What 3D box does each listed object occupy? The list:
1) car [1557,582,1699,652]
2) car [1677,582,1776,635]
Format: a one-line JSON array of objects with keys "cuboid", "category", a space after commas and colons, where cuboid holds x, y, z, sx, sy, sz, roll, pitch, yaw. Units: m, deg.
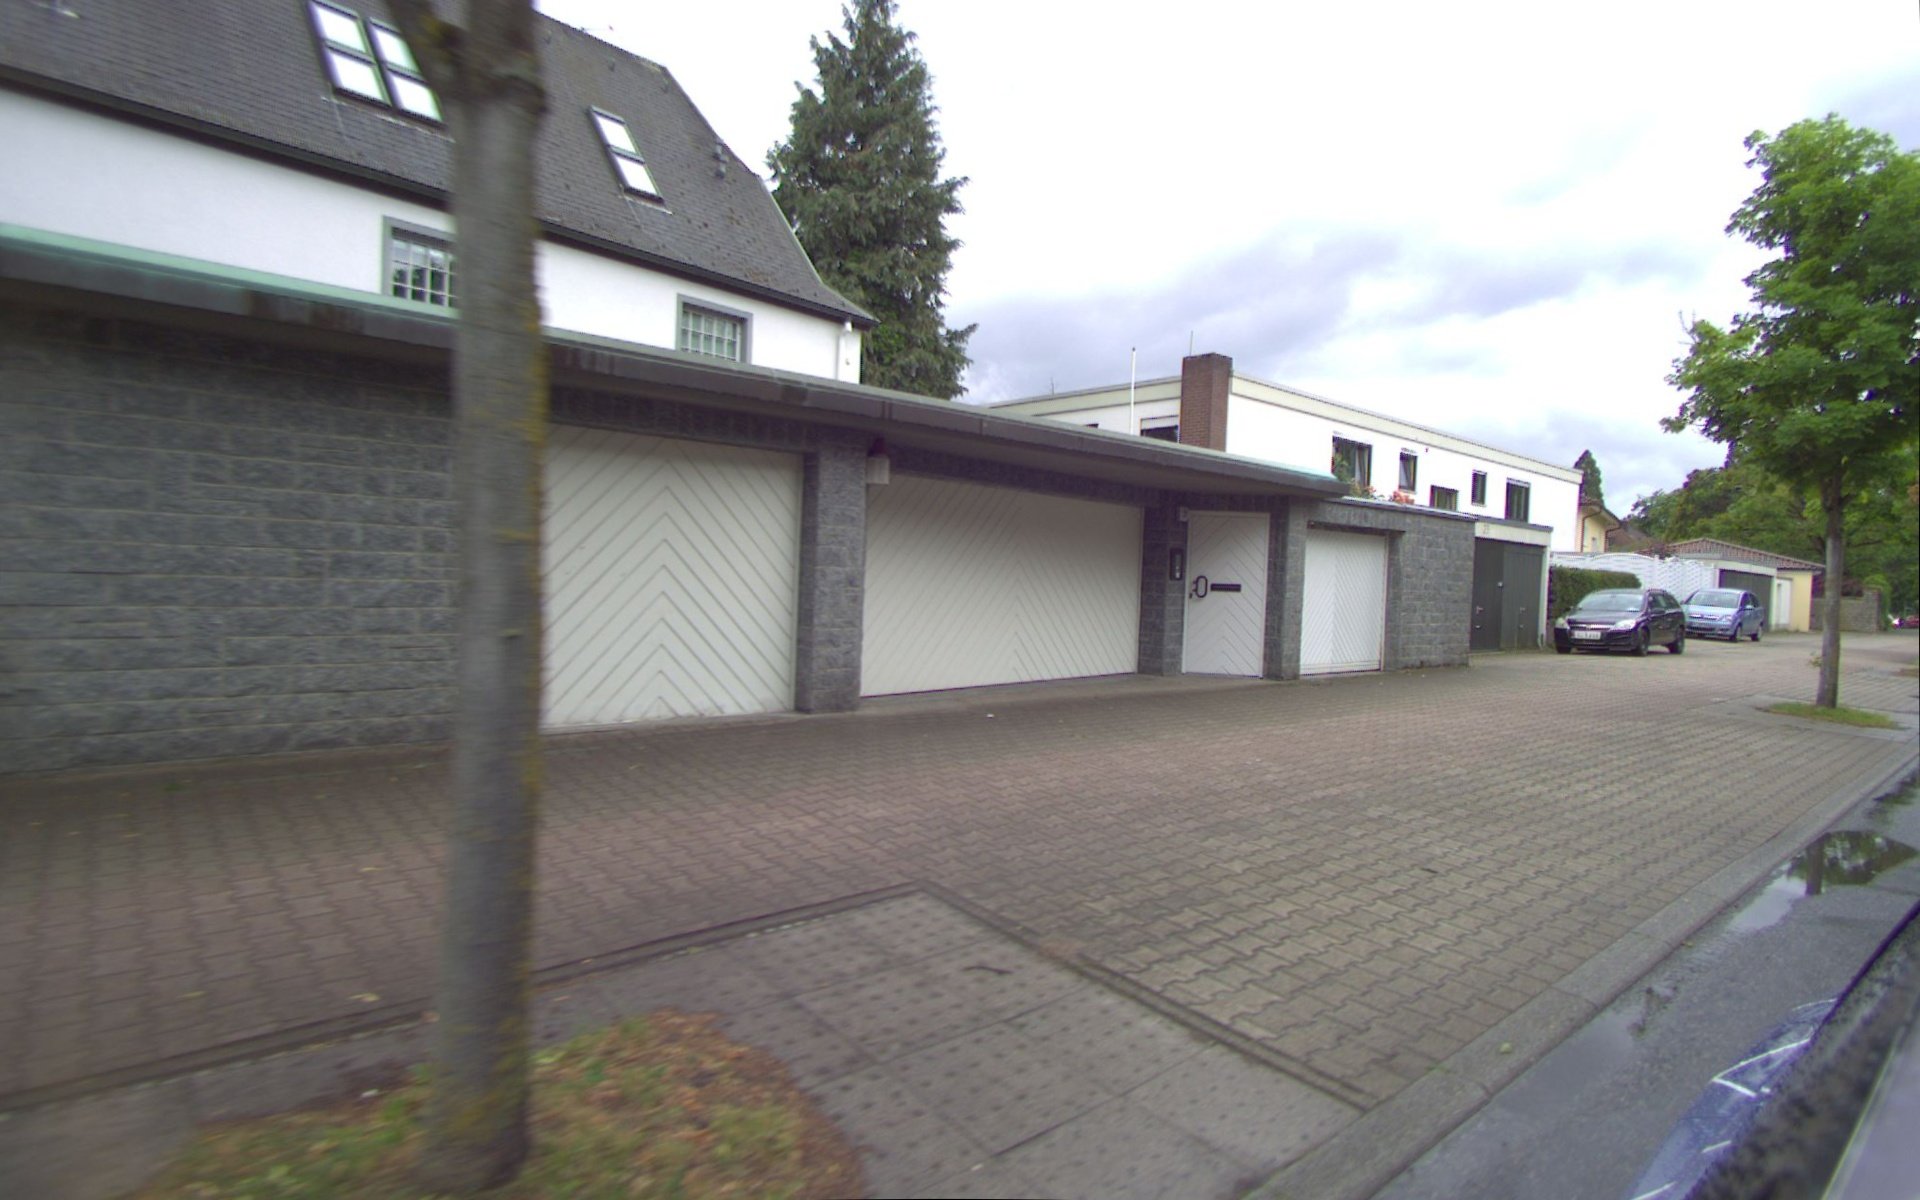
[{"cuboid": [15.087, 0.340, 22.796, 3.929, 1.440, 1.665, 0, 1, -40], "category": "car"}, {"cuboid": [24.126, 0.214, 31.814, 3.930, 1.581, 1.699, -1, 1, -40], "category": "car"}]
